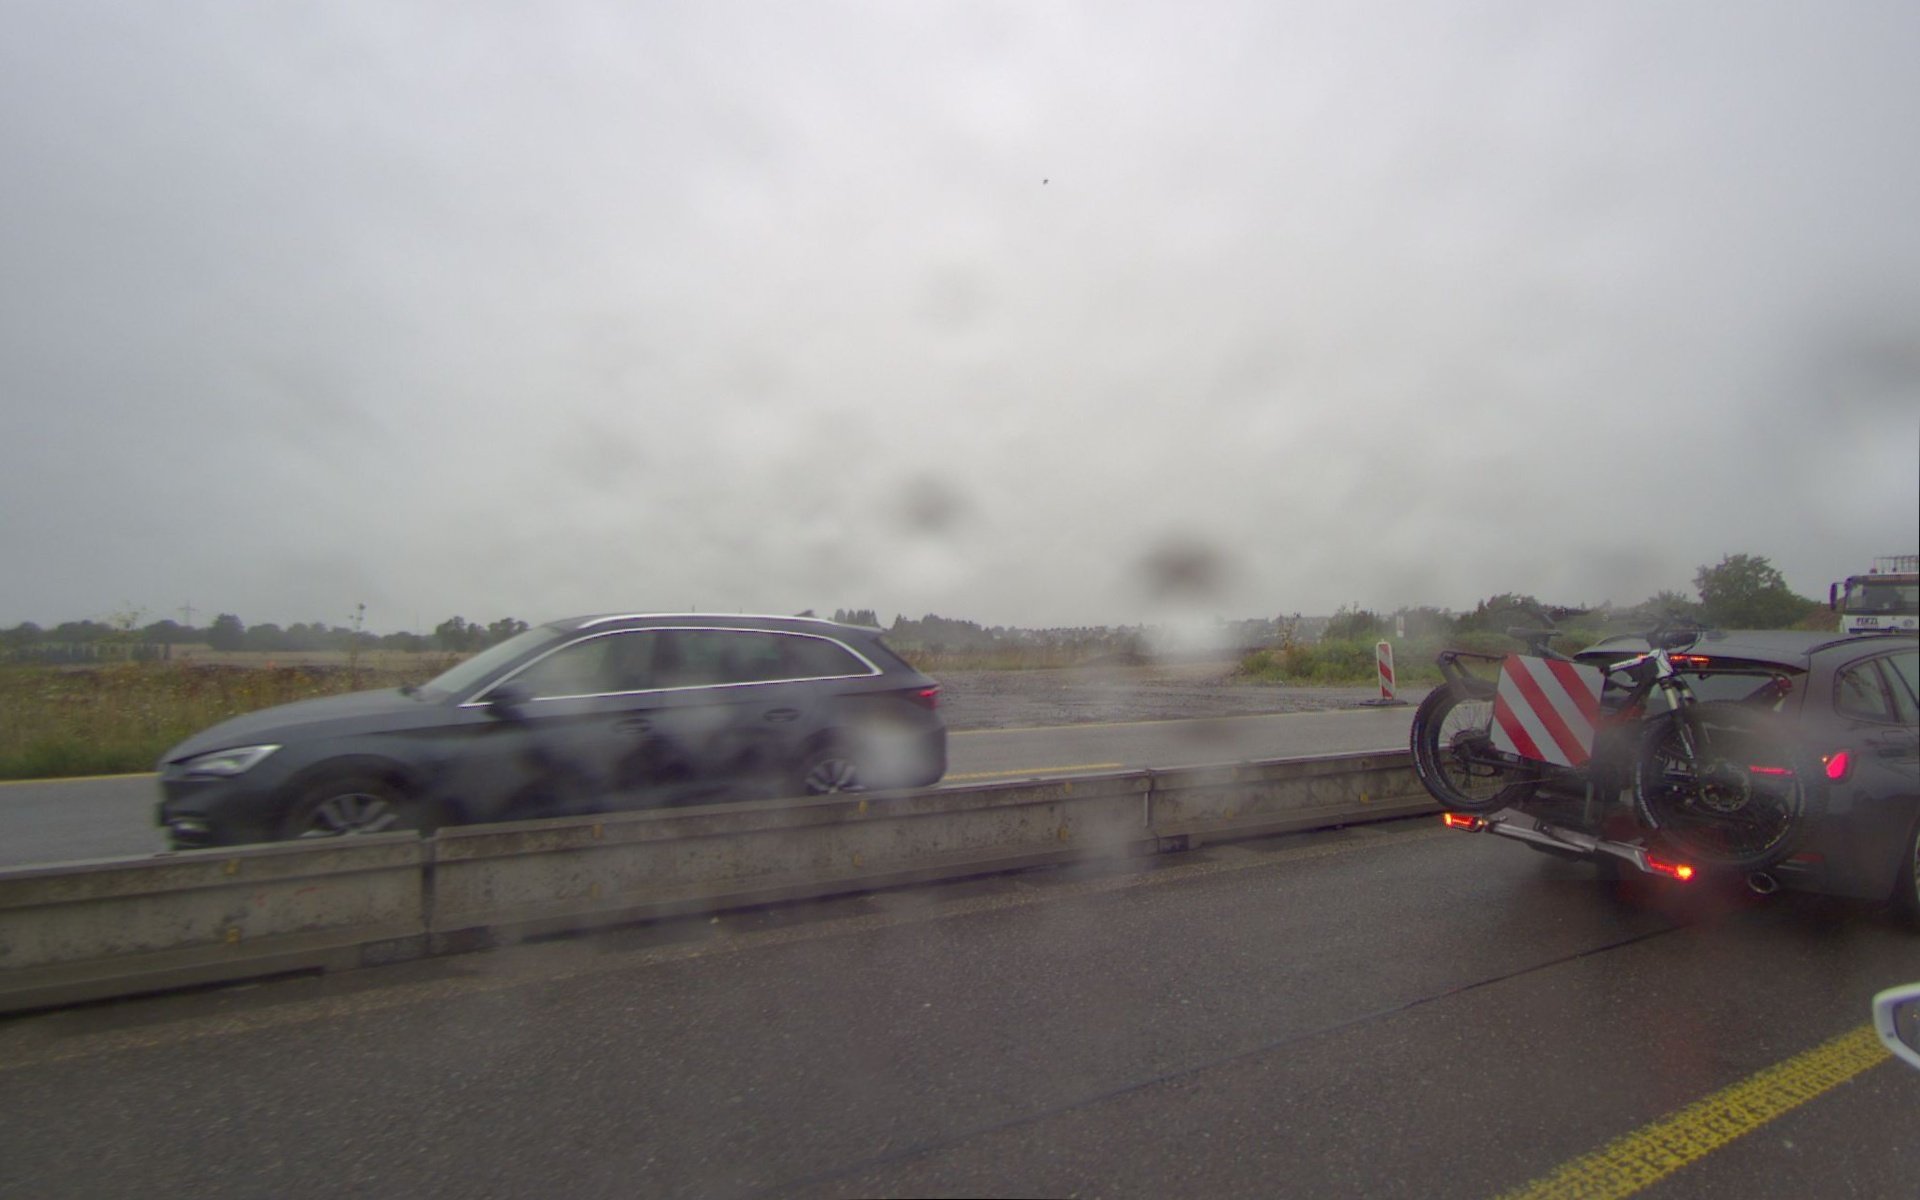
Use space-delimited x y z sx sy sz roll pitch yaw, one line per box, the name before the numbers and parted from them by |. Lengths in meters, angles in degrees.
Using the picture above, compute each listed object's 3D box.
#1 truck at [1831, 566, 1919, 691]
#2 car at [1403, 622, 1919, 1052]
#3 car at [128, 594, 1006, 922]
truck | 25.130 0.739 25.485 6.464 2.932 2.350 1 -2 -27
car | 5.136 0.944 5.995 5.565 1.482 1.726 -1 0 -32
car | -2.145 0.774 6.461 4.643 1.462 1.817 2 -1 -30
